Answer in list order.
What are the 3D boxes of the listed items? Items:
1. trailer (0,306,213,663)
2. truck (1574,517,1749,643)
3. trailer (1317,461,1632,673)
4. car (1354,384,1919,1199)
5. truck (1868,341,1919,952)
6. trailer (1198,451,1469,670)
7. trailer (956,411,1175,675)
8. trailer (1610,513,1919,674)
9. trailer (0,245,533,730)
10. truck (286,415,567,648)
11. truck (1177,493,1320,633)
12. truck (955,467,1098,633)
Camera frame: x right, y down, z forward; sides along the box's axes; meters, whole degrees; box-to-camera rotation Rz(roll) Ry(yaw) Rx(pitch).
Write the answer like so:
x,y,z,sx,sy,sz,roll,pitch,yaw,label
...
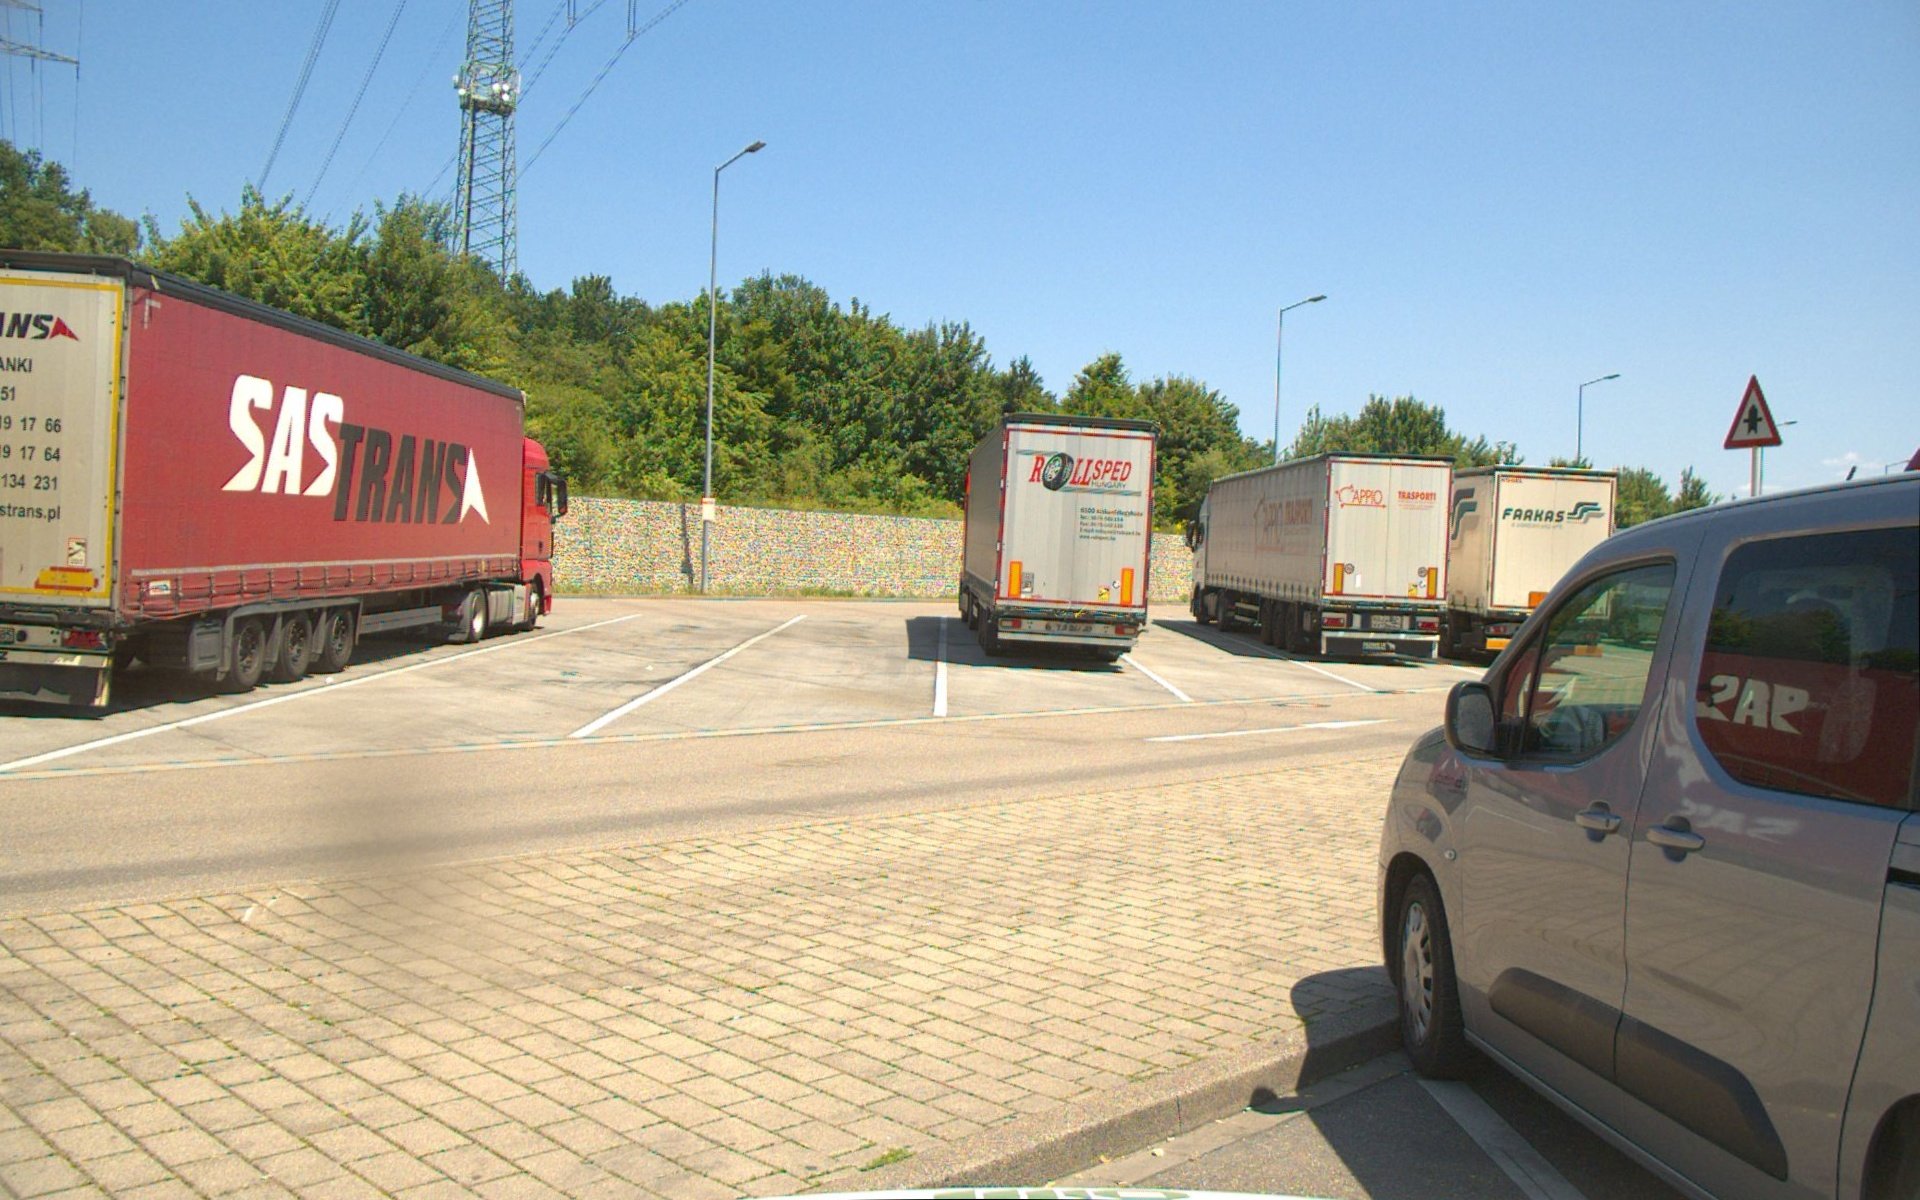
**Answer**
x,y,z,sx,sy,sz,roll,pitch,yaw,label
-12.547,-1.337,17.701,2.739,4.155,14.131,3,2,-1,trailer
21.777,-0.701,51.718,2.746,3.582,5.900,3,2,-1,truck
11.742,-0.939,39.940,2.754,4.058,14.395,3,2,-1,trailer
2.443,0.598,3.842,1.832,1.896,4.174,3,1,-2,car
5.005,0.195,4.965,1.937,2.668,5.307,1,0,4,truck
8.179,-1.033,38.836,2.754,4.058,14.395,3,2,-1,trailer
1.666,-1.196,33.628,3.070,4.058,14.393,3,2,-1,trailer
21.853,-0.396,44.489,2.754,3.568,14.395,3,2,-1,trailer
-8.720,-1.292,21.423,2.735,4.155,14.131,3,2,-1,trailer
-8.784,-1.151,27.994,2.793,3.385,5.900,3,2,-1,truck
8.063,-1.095,46.935,2.804,3.582,5.900,3,2,-1,truck
1.510,-1.241,40.518,3.041,3.628,5.900,3,2,-1,truck
